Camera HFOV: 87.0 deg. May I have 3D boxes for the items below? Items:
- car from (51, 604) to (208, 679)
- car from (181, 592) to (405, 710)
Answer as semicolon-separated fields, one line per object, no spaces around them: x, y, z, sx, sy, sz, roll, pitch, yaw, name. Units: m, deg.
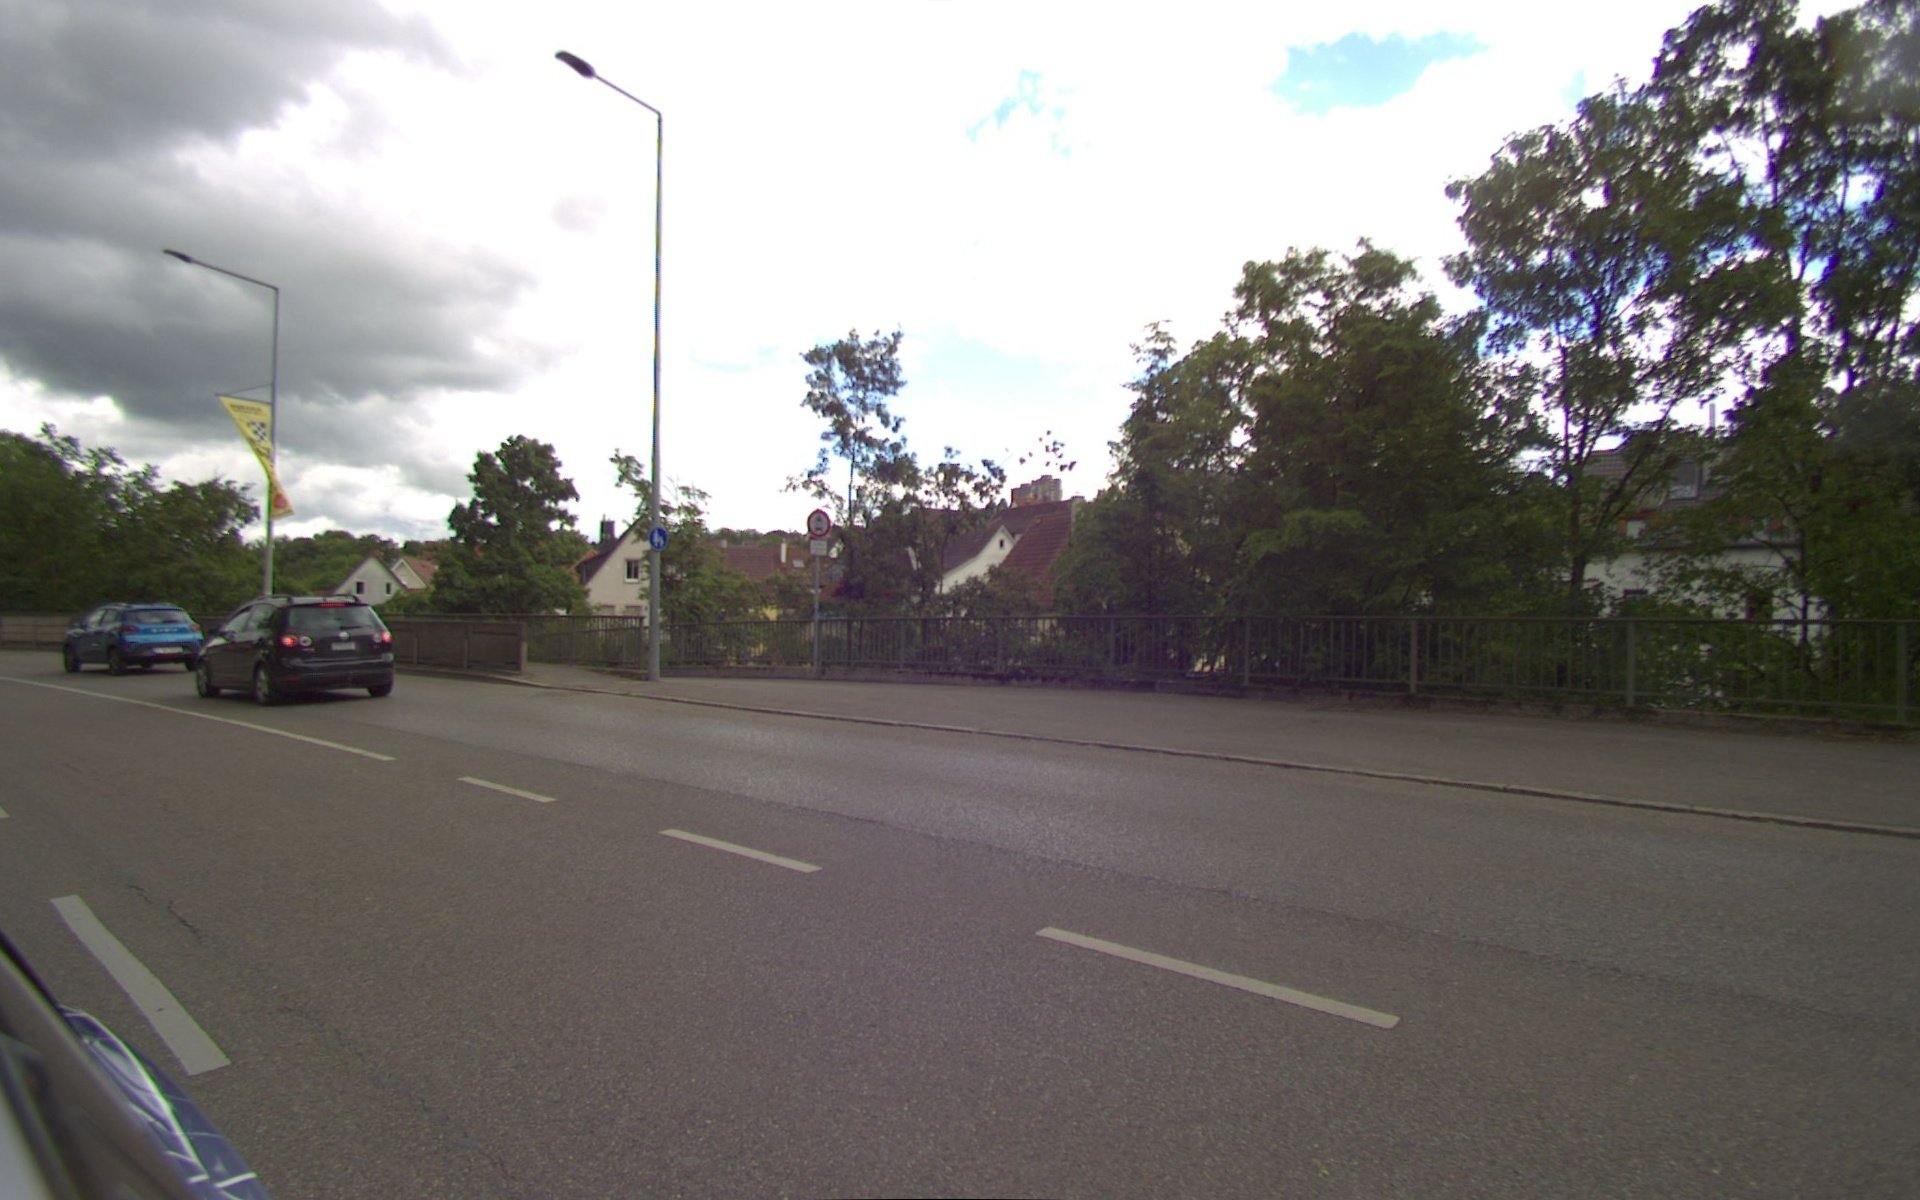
-18.315;0.871;22.297;3.684;1.497;1.569;-1;1;32;car
-10.532;0.722;15.887;4.007;1.619;1.704;-1;0;37;car
